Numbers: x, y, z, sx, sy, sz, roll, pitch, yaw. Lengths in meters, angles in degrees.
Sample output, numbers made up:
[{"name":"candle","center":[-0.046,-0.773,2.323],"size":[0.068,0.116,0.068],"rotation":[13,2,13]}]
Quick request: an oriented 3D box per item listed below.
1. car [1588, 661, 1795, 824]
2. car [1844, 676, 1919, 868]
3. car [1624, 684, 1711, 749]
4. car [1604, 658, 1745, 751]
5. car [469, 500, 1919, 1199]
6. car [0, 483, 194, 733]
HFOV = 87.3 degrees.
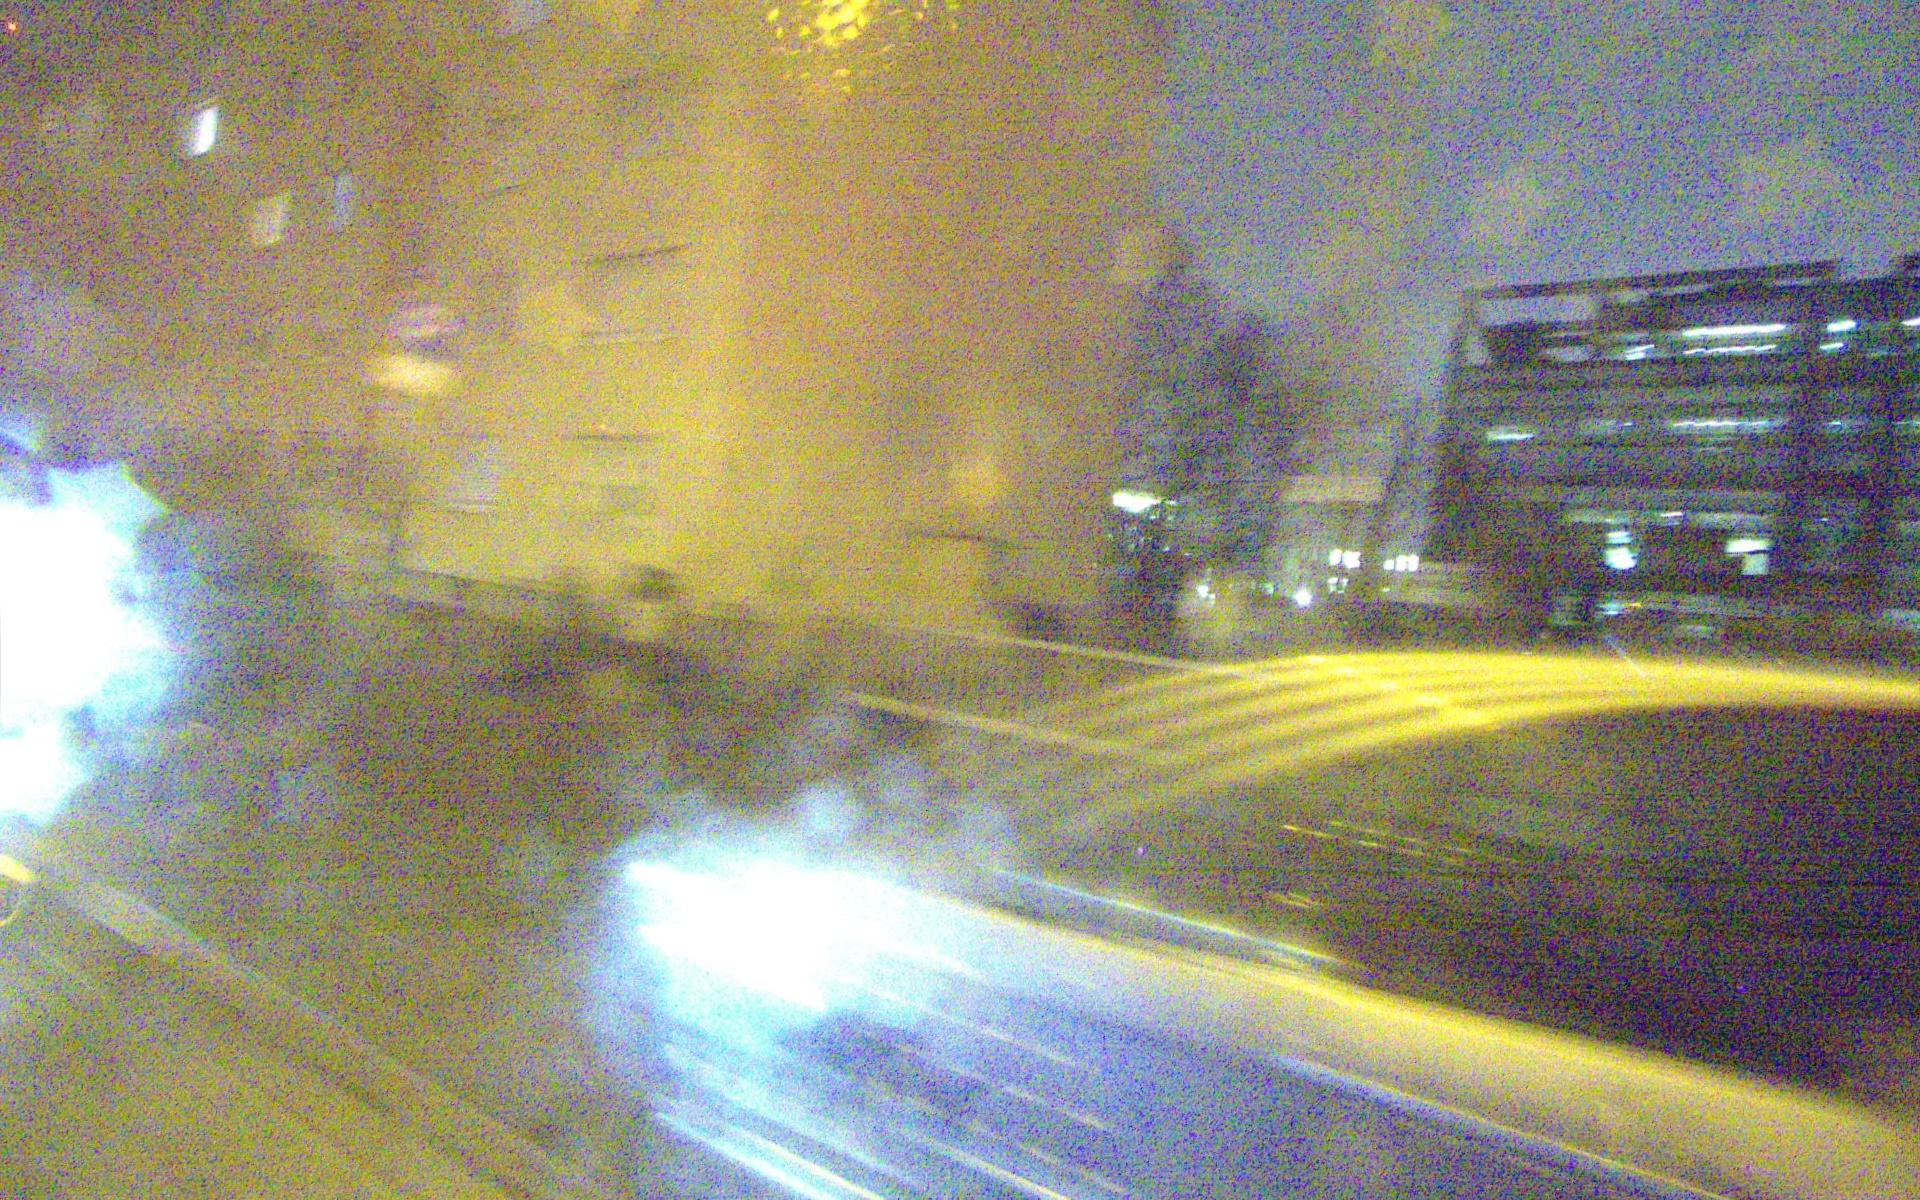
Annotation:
[{"name":"car","center":[8.539,1.567,11.989],"size":[1.594,1.417,3.689],"rotation":[7,0,33]},{"name":"car","center":[10.651,1.804,10.233],"size":[1.721,1.812,4.068],"rotation":[8,0,33]},{"name":"car","center":[22.399,3.622,31.976],"size":[1.964,1.608,4.589],"rotation":[7,0,34]},{"name":"car","center":[15.446,2.191,21.964],"size":[1.797,1.584,4.155],"rotation":[7,0,28]},{"name":"car","center":[1.196,0.821,2.249],"size":[4.511,1.594,1.881],"rotation":[8,3,30]},{"name":"car","center":[-7.629,-0.151,7.446],"size":[4.435,1.486,1.629],"rotation":[7,2,32]}]
